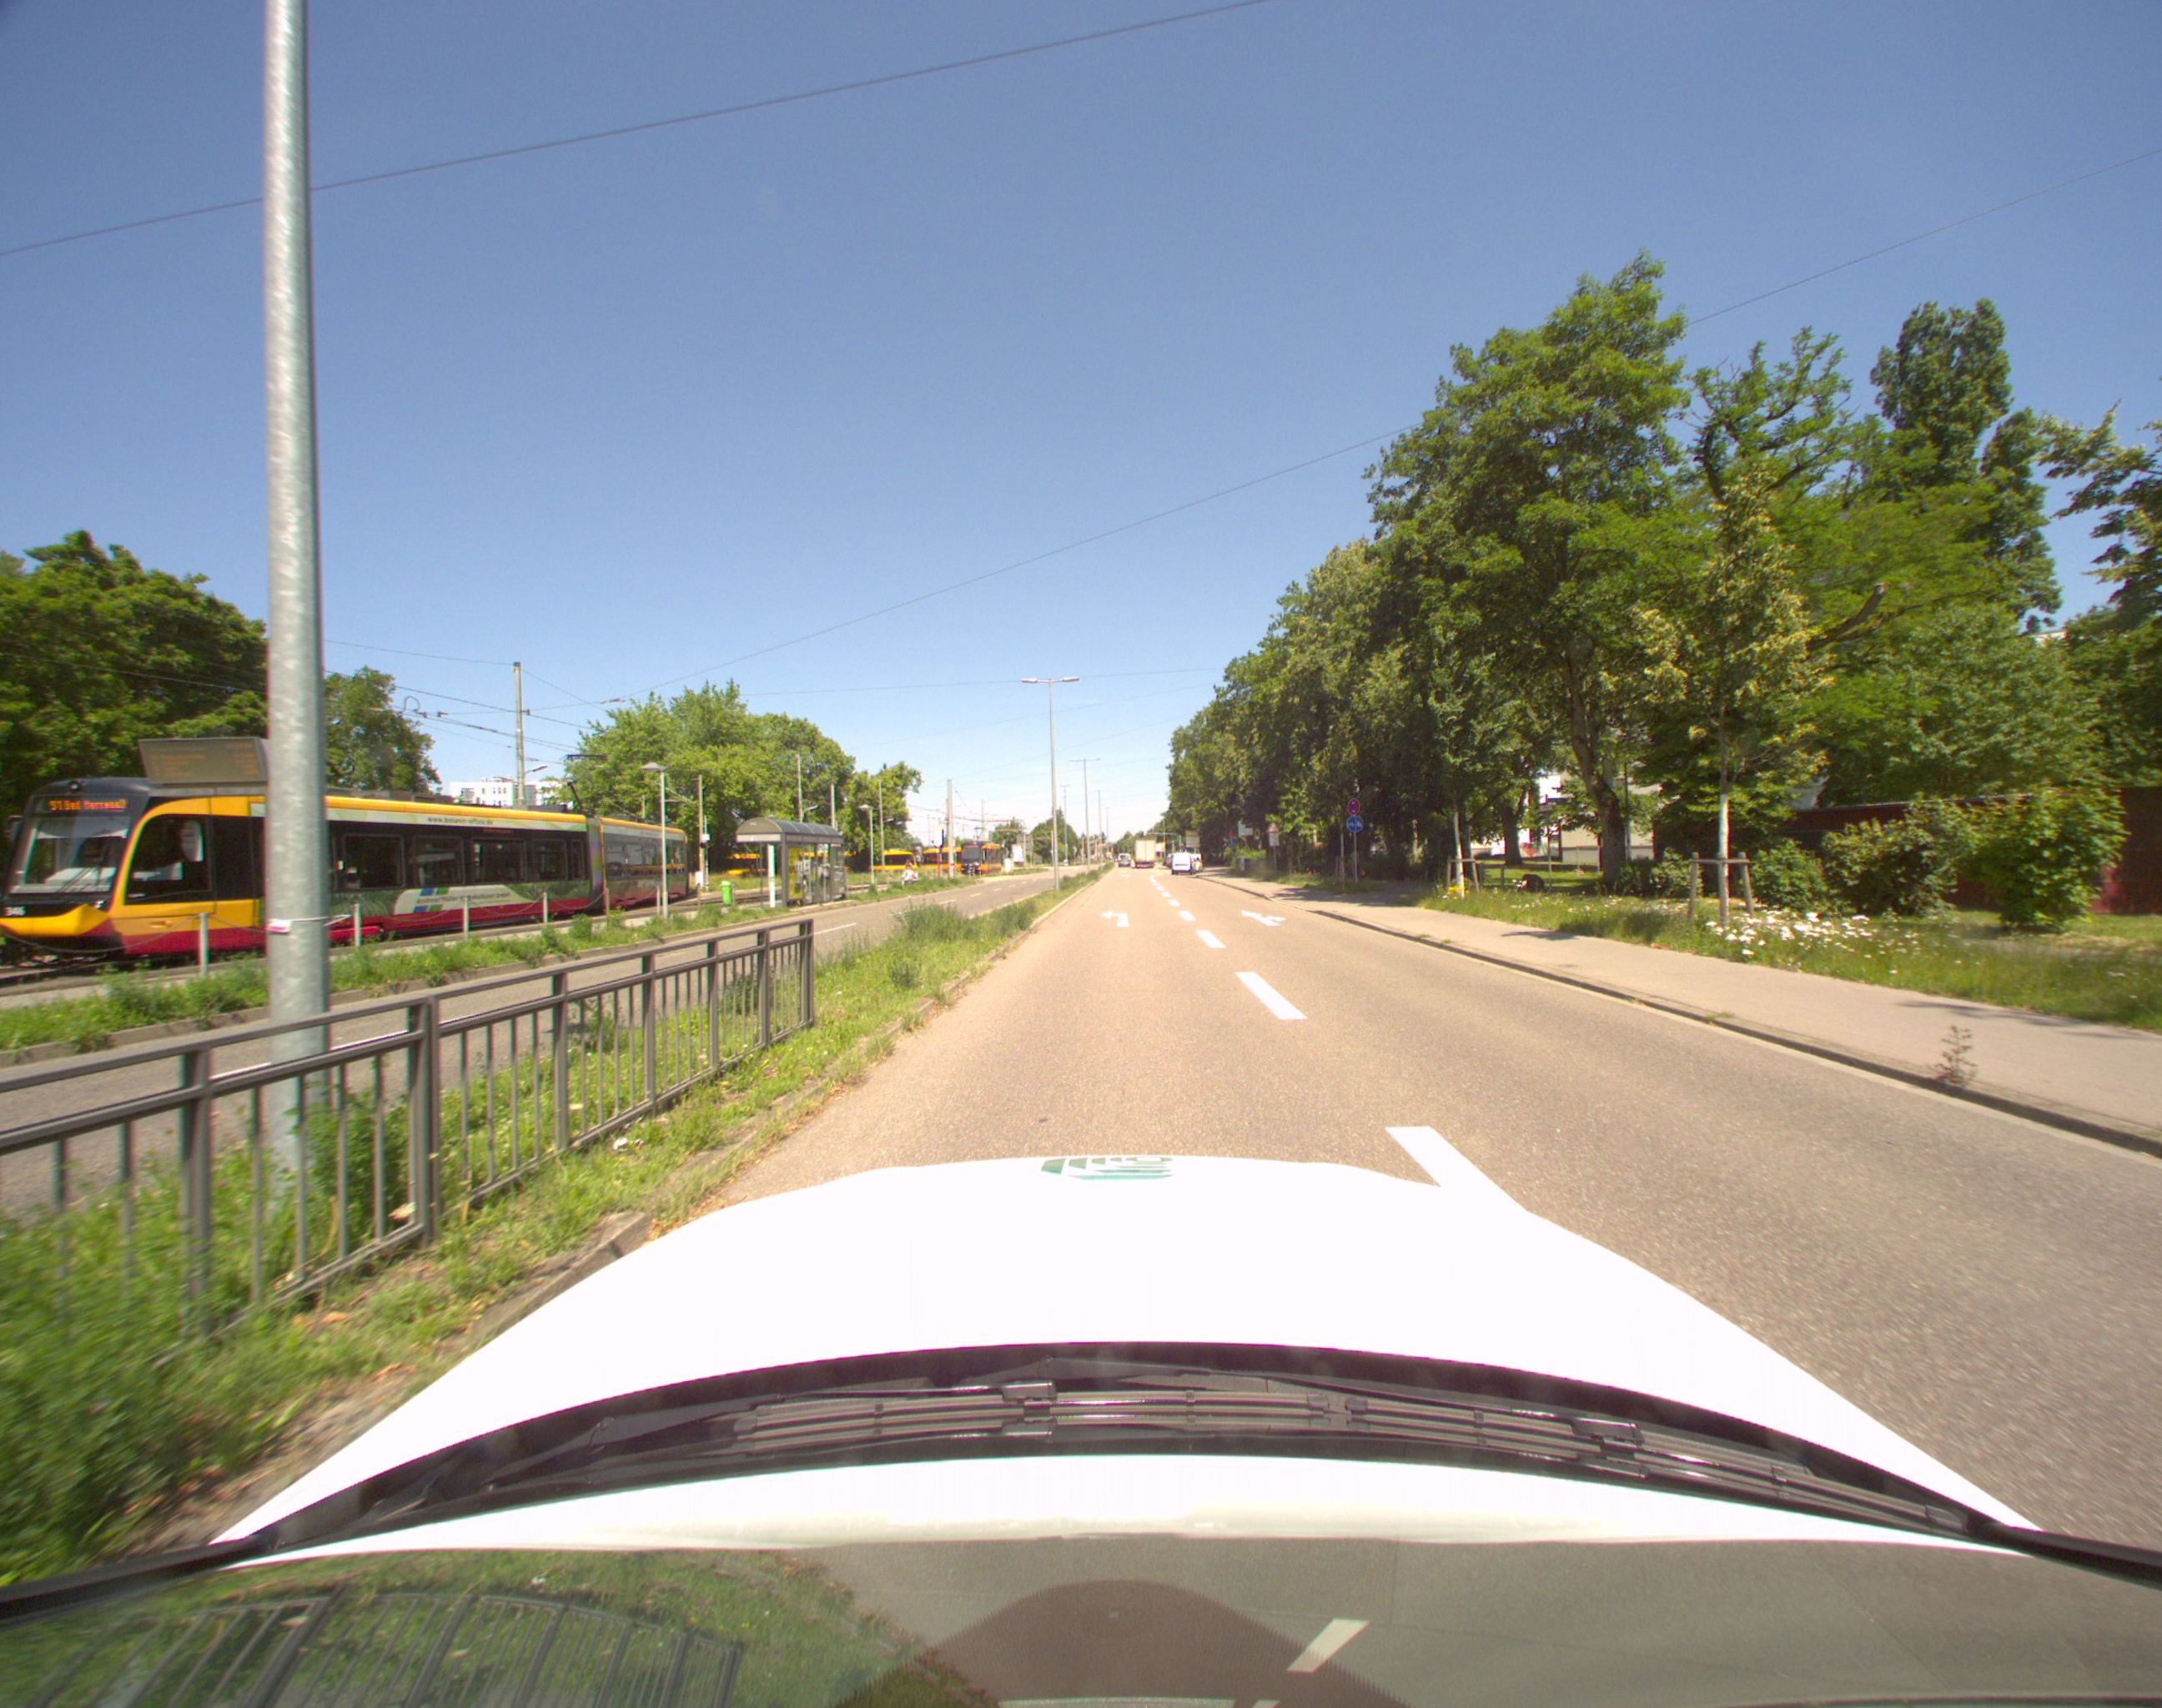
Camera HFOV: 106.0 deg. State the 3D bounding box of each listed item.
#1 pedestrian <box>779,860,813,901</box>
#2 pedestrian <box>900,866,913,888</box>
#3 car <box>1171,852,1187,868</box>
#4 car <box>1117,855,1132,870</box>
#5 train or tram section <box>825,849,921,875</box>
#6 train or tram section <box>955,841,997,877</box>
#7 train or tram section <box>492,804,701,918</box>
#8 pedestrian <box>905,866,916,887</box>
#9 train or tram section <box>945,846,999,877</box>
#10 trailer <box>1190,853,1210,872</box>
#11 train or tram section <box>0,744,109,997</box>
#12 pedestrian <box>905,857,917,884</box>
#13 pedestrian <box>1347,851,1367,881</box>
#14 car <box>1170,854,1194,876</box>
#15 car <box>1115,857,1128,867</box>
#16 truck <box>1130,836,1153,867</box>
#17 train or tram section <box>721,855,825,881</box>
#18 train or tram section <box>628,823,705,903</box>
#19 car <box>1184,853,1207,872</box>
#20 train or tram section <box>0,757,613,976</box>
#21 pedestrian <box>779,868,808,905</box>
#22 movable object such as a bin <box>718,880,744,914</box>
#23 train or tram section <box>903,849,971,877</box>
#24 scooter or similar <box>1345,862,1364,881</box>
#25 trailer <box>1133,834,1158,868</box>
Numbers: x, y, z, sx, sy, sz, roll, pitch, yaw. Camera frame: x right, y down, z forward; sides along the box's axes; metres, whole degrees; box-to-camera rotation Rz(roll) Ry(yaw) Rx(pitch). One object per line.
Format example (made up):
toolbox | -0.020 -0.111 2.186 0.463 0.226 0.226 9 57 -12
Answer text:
pedestrian | -10.878 0.991 31.111 0.927 1.546 0.985 0 0 1
pedestrian | -9.762 1.296 45.645 0.578 1.189 0.537 0 0 3
car | 13.177 0.811 109.858 1.884 2.121 3.888 0 0 2
car | 6.710 1.295 126.568 1.987 2.111 4.747 -1 0 0
train or tram section | -28.940 1.119 113.477 12.646 3.466 3.051 0 0 5
train or tram section | -10.811 0.500 85.264 3.028 3.466 13.282 0 0 -2
train or tram section | -18.318 0.236 32.182 3.045 3.624 12.404 0 0 -11
pedestrian | -9.665 1.271 46.131 0.492 1.189 0.401 0 0 5
train or tram section | -13.069 0.894 96.382 3.054 3.466 10.131 0 0 -28
trailer | 10.632 0.748 73.087 1.463 1.669 2.857 0 0 2
train or tram section | -17.980 0.240 6.893 3.031 3.767 13.273 0 0 3
pedestrian | -9.844 0.965 47.078 0.532 1.565 0.583 0 0 1
pedestrian | 13.043 0.558 38.467 0.705 1.398 0.764 0 0 4
car | 8.224 0.852 66.851 1.702 1.747 4.432 0 0 4
car | 5.974 1.138 119.434 1.885 1.372 4.432 1 -2 2
truck | 8.695 -0.361 117.064 2.817 4.344 8.285 0 0 1
train or tram section | -42.525 1.918 112.942 13.257 3.466 3.028 0 0 -18
train or tram section | -21.792 0.422 43.379 3.058 3.624 12.351 0 0 -24
car | 10.763 0.783 76.731 1.693 1.654 4.400 0 0 2
train or tram section | -17.283 0.219 20.428 3.034 3.624 13.896 0 0 0
pedestrian | -10.188 1.156 28.851 0.698 1.283 0.840 0 0 1
movable object such as a bin | -10.522 1.299 24.484 0.480 0.978 0.645 -1 -1 -1
train or tram section | -18.926 1.104 106.288 3.061 3.466 12.604 0 0 -39
scooter or similar | 13.092 0.811 38.996 0.705 0.893 0.764 0 0 4
trailer | 8.542 -0.359 108.486 2.816 4.421 8.752 0 0 2
